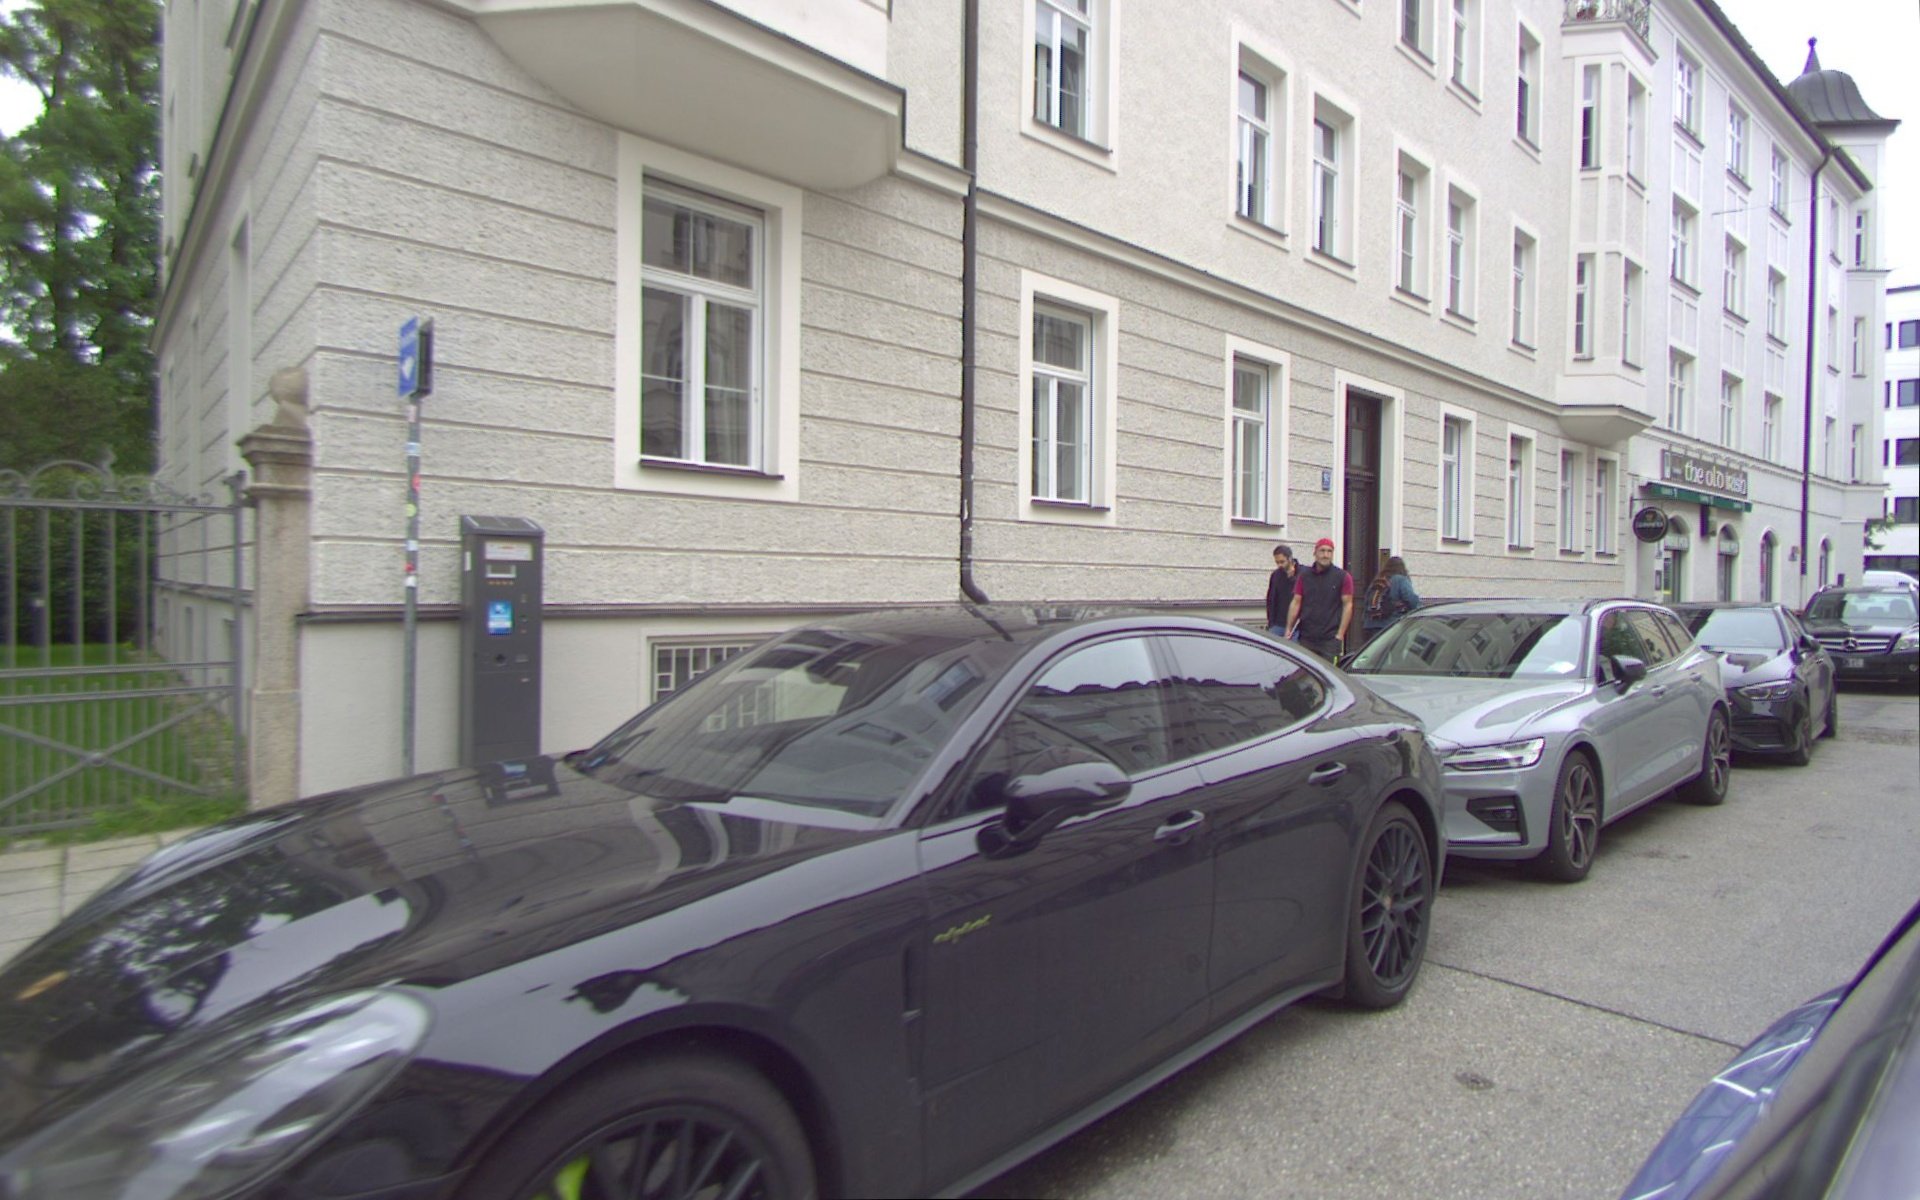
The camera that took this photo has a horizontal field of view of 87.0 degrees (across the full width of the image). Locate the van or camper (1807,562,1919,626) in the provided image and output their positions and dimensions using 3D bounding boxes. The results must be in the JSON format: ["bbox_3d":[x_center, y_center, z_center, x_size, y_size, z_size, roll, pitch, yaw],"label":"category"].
[{"bbox_3d":[41.954,-0.249,45.484,5.850,2.749,2.268,2,-1,43],"label":"van or camper"}]

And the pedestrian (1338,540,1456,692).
[{"bbox_3d":[5.662,0.177,13.103,1.091,1.834,0.885,0,5,-40],"label":"pedestrian"}]

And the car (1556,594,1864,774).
[{"bbox_3d":[7.839,0.670,10.358,1.837,1.417,4.893,-1,-1,45],"label":"car"}]

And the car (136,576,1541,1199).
[{"bbox_3d":[0.173,0.683,3.545,4.634,1.475,1.996,-1,2,-44],"label":"car"}]

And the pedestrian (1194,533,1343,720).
[{"bbox_3d":[3.175,0.240,10.450,1.088,1.808,0.888,1,3,-27],"label":"pedestrian"}]

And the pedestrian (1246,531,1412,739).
[{"bbox_3d":[3.462,0.291,9.553,1.088,1.833,0.888,1,2,-25],"label":"pedestrian"}]

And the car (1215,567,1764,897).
[{"bbox_3d":[3.722,0.616,6.729,4.343,1.505,1.763,0,-1,-41],"label":"car"}]

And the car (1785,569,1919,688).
[{"bbox_3d":[14.848,0.410,16.282,4.117,1.696,1.802,0,-1,-42],"label":"car"}]
